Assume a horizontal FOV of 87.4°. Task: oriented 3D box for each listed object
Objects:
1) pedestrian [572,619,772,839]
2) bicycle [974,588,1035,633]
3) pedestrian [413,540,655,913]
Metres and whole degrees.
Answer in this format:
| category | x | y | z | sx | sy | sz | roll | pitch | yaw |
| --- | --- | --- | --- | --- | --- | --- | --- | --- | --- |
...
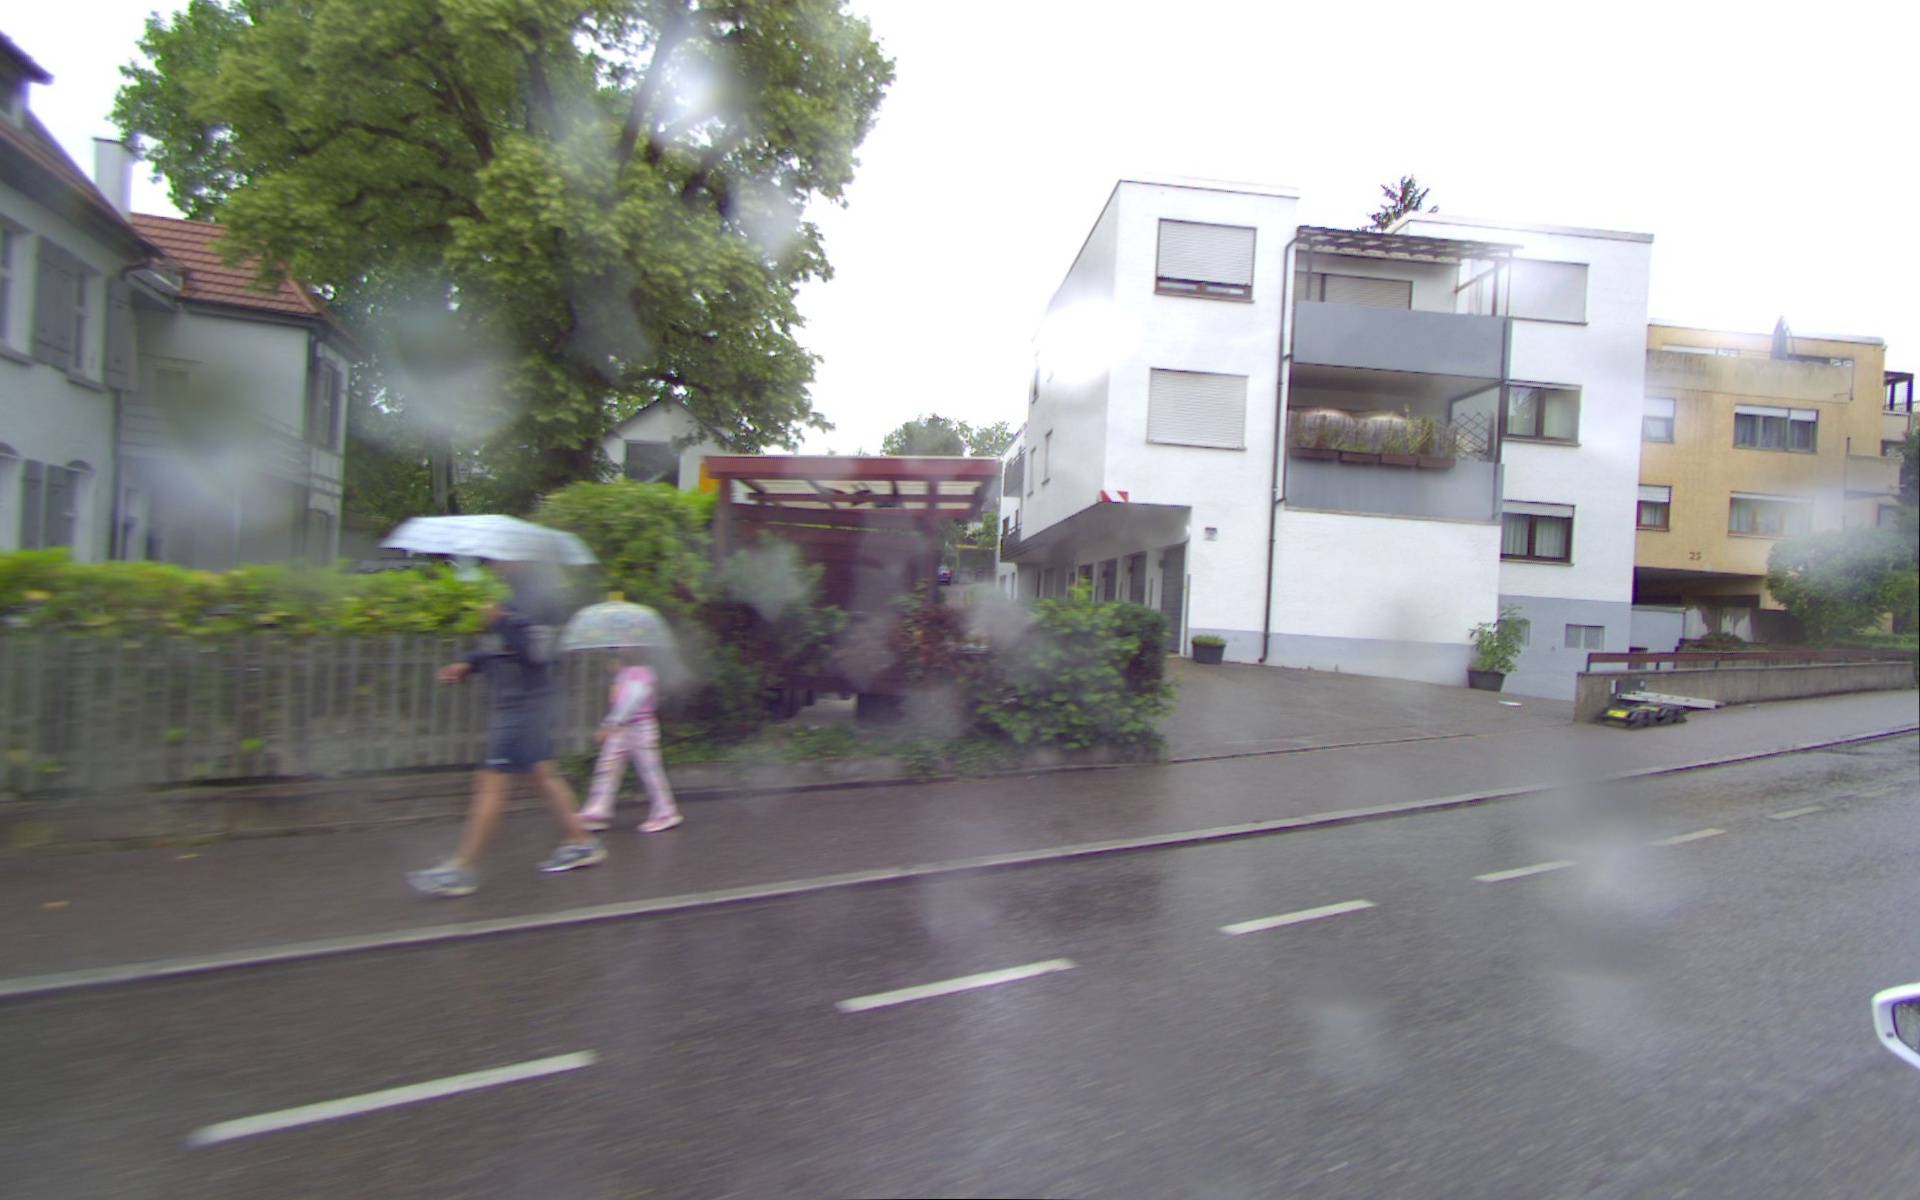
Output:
| category | x | y | z | sx | sy | sz | roll | pitch | yaw |
| --- | --- | --- | --- | --- | --- | --- | --- | --- | --- |
| pedestrian | -1.779 | 0.735 | 6.169 | 1.027 | 1.195 | 0.752 | 1 | 1 | -29 |
| bicycle | 1.687 | 0.395 | 38.420 | 2.269 | 1.656 | 0.701 | 1 | 1 | 0 |
| pedestrian | -2.152 | 0.568 | 5.059 | 1.027 | 1.666 | 0.752 | 1 | 1 | -29 |
